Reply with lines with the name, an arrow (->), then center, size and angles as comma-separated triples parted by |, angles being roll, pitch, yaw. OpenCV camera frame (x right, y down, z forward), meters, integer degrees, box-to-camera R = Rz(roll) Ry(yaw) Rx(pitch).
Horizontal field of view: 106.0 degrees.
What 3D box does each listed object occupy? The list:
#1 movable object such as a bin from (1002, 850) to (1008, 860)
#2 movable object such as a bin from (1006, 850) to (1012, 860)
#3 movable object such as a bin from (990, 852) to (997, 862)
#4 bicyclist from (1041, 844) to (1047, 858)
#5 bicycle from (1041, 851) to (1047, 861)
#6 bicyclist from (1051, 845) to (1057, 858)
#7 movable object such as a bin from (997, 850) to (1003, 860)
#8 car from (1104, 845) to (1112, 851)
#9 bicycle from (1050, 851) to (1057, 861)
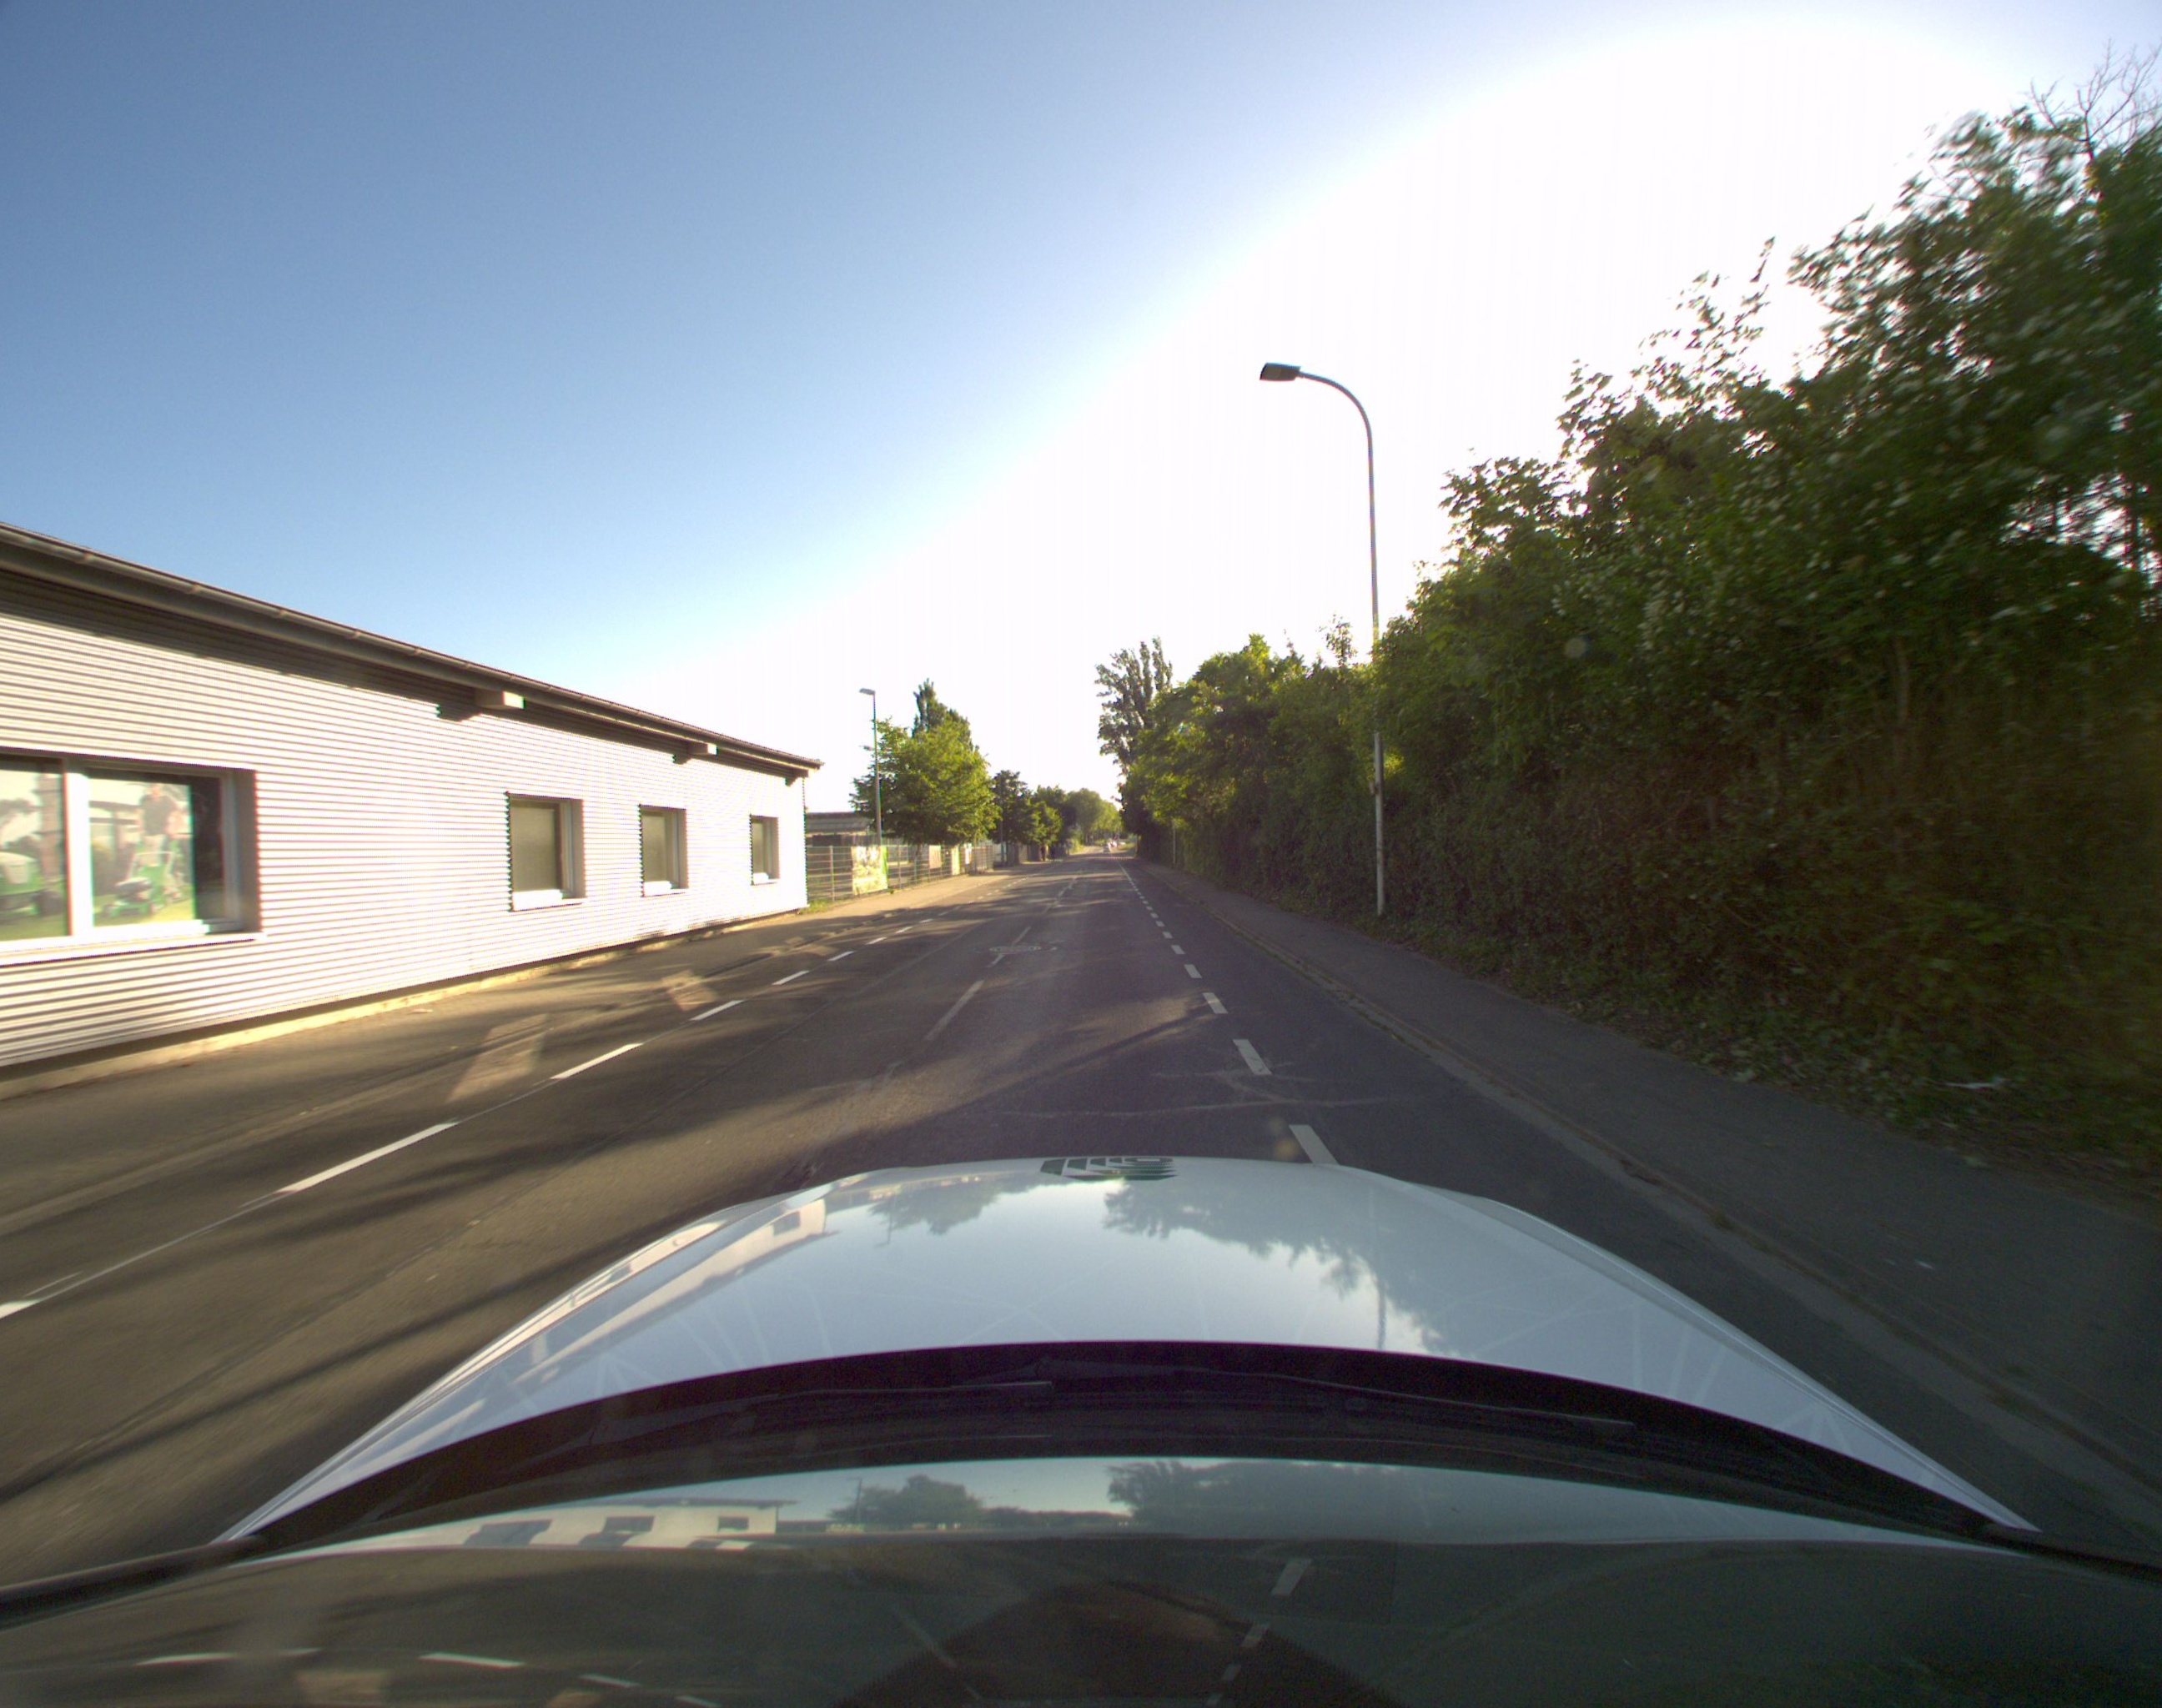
movable object such as a bin -> -8.546, 0.103, 91.582 | 0.461, 1.076, 1.570 | -2, 1, 2
movable object such as a bin -> -8.040, 0.084, 91.393 | 0.461, 1.076, 1.570 | -2, 1, 2
movable object such as a bin -> -9.824, 0.293, 91.466 | 0.461, 1.076, 1.570 | -2, 1, 2
bicyclist -> -4.139, -0.322, 91.405 | 0.558, 1.533, 0.690 | 0, 1, 1
bicycle -> -4.140, 0.236, 91.490 | 0.560, 1.034, 1.351 | 0, 1, 2
bicyclist -> -3.022, -0.284, 90.583 | 0.687, 1.532, 0.723 | 0, 1, 1
movable object such as a bin -> -9.091, 0.123, 91.528 | 0.461, 1.076, 1.570 | -2, 1, 2
car -> 7.001, -1.627, 211.343 | 1.935, 1.651, 4.311 | 0, 1, 2
bicycle -> -3.021, 0.193, 90.594 | 0.686, 1.034, 1.351 | 0, 1, 2
